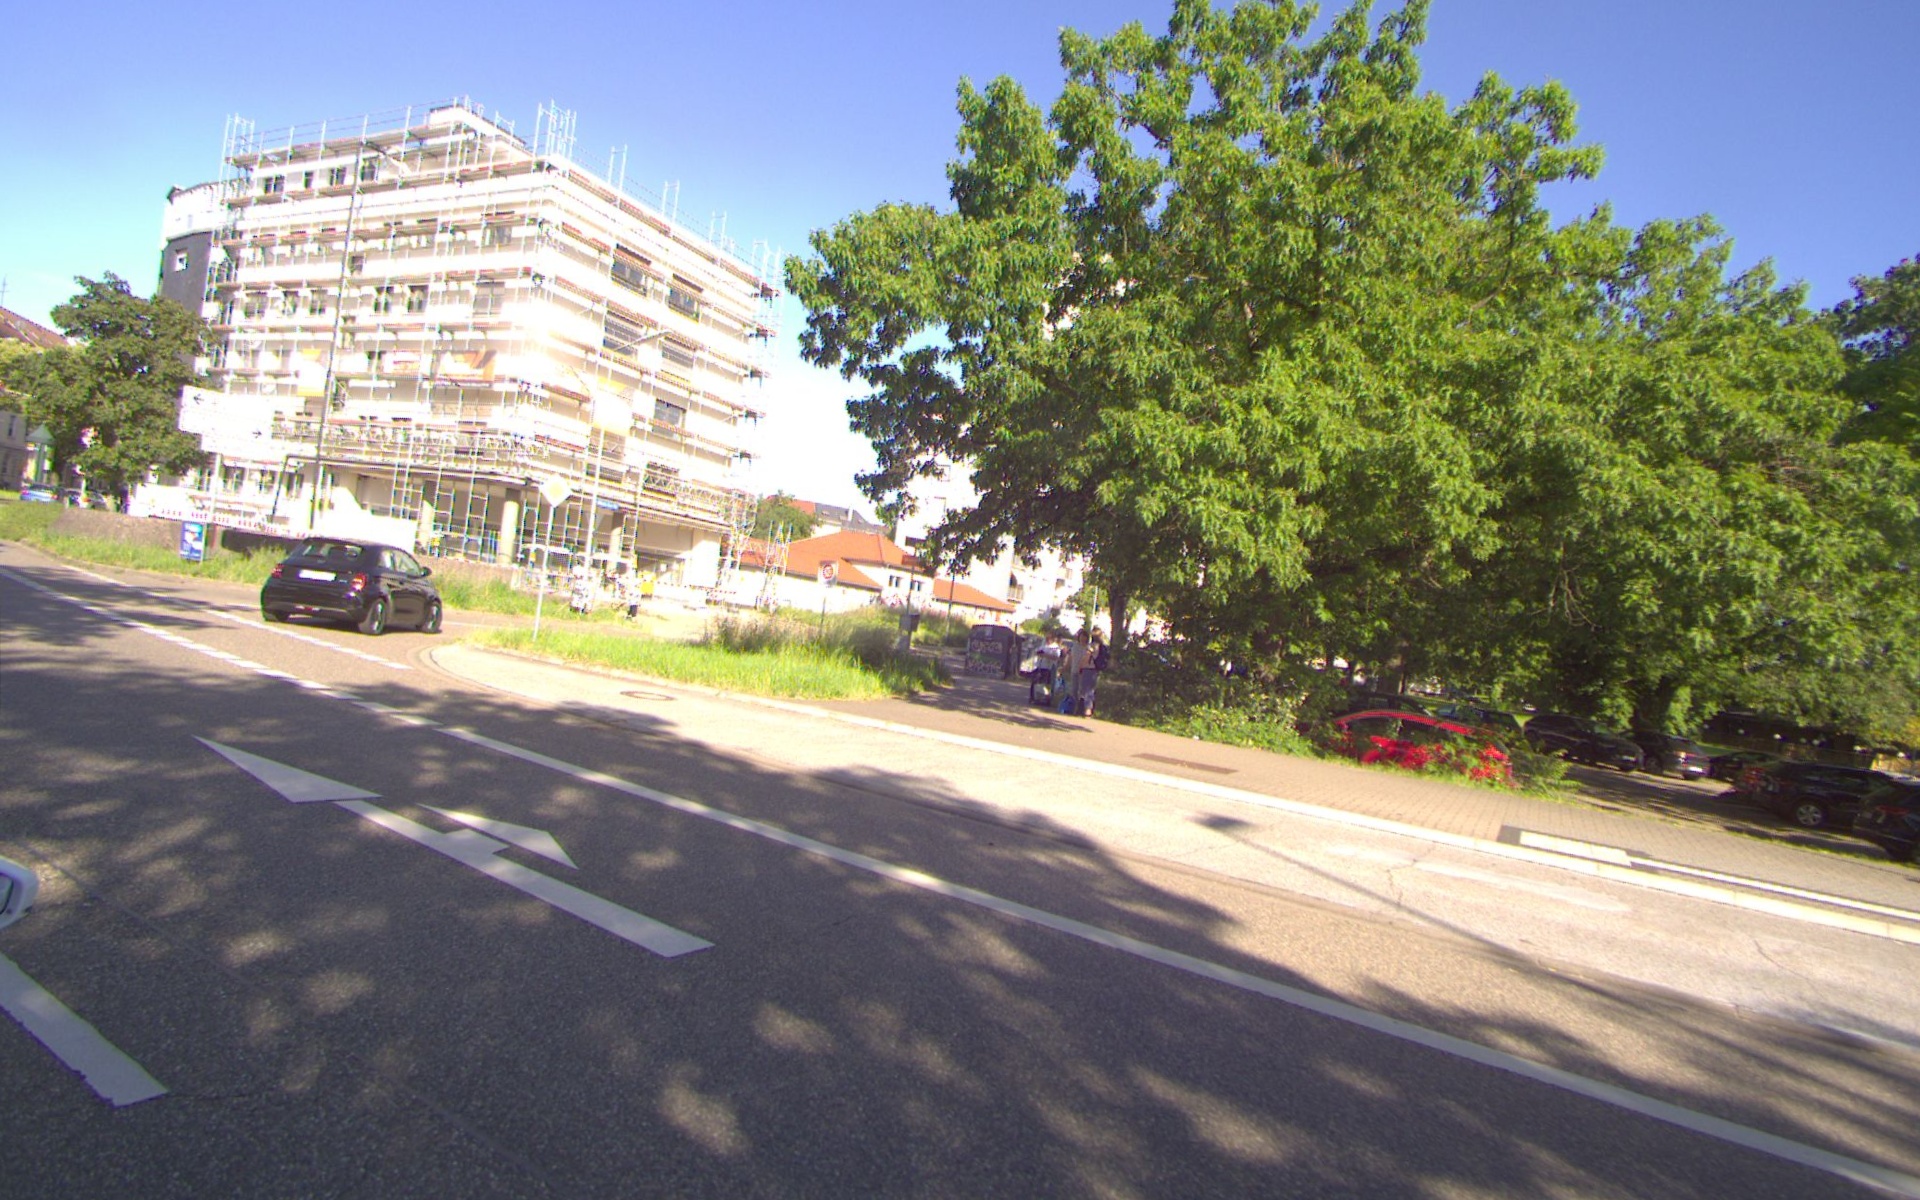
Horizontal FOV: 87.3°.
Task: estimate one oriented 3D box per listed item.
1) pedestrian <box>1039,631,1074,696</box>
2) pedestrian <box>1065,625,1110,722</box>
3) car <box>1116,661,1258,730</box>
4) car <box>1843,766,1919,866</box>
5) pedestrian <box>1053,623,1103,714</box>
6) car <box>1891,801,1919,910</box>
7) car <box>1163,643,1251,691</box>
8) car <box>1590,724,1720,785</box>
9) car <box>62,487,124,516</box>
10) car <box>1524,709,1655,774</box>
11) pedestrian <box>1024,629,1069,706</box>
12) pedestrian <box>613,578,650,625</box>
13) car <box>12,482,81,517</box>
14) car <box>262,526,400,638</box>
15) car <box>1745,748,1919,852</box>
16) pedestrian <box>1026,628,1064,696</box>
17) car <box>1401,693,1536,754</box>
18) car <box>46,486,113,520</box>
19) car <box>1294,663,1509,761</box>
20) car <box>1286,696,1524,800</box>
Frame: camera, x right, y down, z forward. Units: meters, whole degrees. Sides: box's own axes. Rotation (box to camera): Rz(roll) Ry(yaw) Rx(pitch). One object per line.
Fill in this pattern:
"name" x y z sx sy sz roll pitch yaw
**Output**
"pedestrian" 2.556 1.676 26.522 0.557 1.638 0.599 7 -2 25
"pedestrian" 2.345 1.365 18.540 0.403 1.720 0.603 8 0 30
"car" 7.420 3.108 32.922 3.937 1.625 1.997 6 -3 34
"car" 19.538 4.384 18.994 3.934 1.683 1.608 7 -2 33
"pedestrian" 2.260 1.324 19.273 0.542 1.654 0.623 8 0 31
"car" 17.657 4.498 16.151 3.554 1.657 1.765 7 -1 33
"car" 14.305 3.890 58.332 4.281 2.097 1.996 7 -1 34
"car" 26.718 5.917 38.839 1.755 1.466 3.994 8 0 -8
"car" -69.729 -7.925 80.912 3.925 1.613 1.912 8 0 18
"car" 23.903 5.348 38.409 1.966 1.621 3.994 8 0 -8
"pedestrian" 1.842 1.434 21.423 0.603 1.536 0.528 8 0 34
"pedestrian" -11.700 0.061 35.849 0.892 1.515 0.652 8 0 23
"car" -50.084 -5.484 55.226 1.760 1.459 3.594 9 -1 -26
"car" -10.687 -0.358 17.050 1.665 1.521 3.529 8 -1 -34
"car" 22.457 5.029 24.686 4.700 1.769 1.756 10 -1 34
"pedestrian" 2.183 1.582 25.711 0.557 1.638 0.705 7 -2 25
"car" 18.847 4.579 37.378 1.990 1.573 3.950 10 -3 -44
"car" -52.157 -5.710 59.672 1.803 1.526 3.974 8 0 -25
"car" 11.647 2.938 26.663 4.810 1.555 1.998 10 -1 34
"car" 8.283 2.695 18.840 3.845 1.168 1.399 8 -1 30
